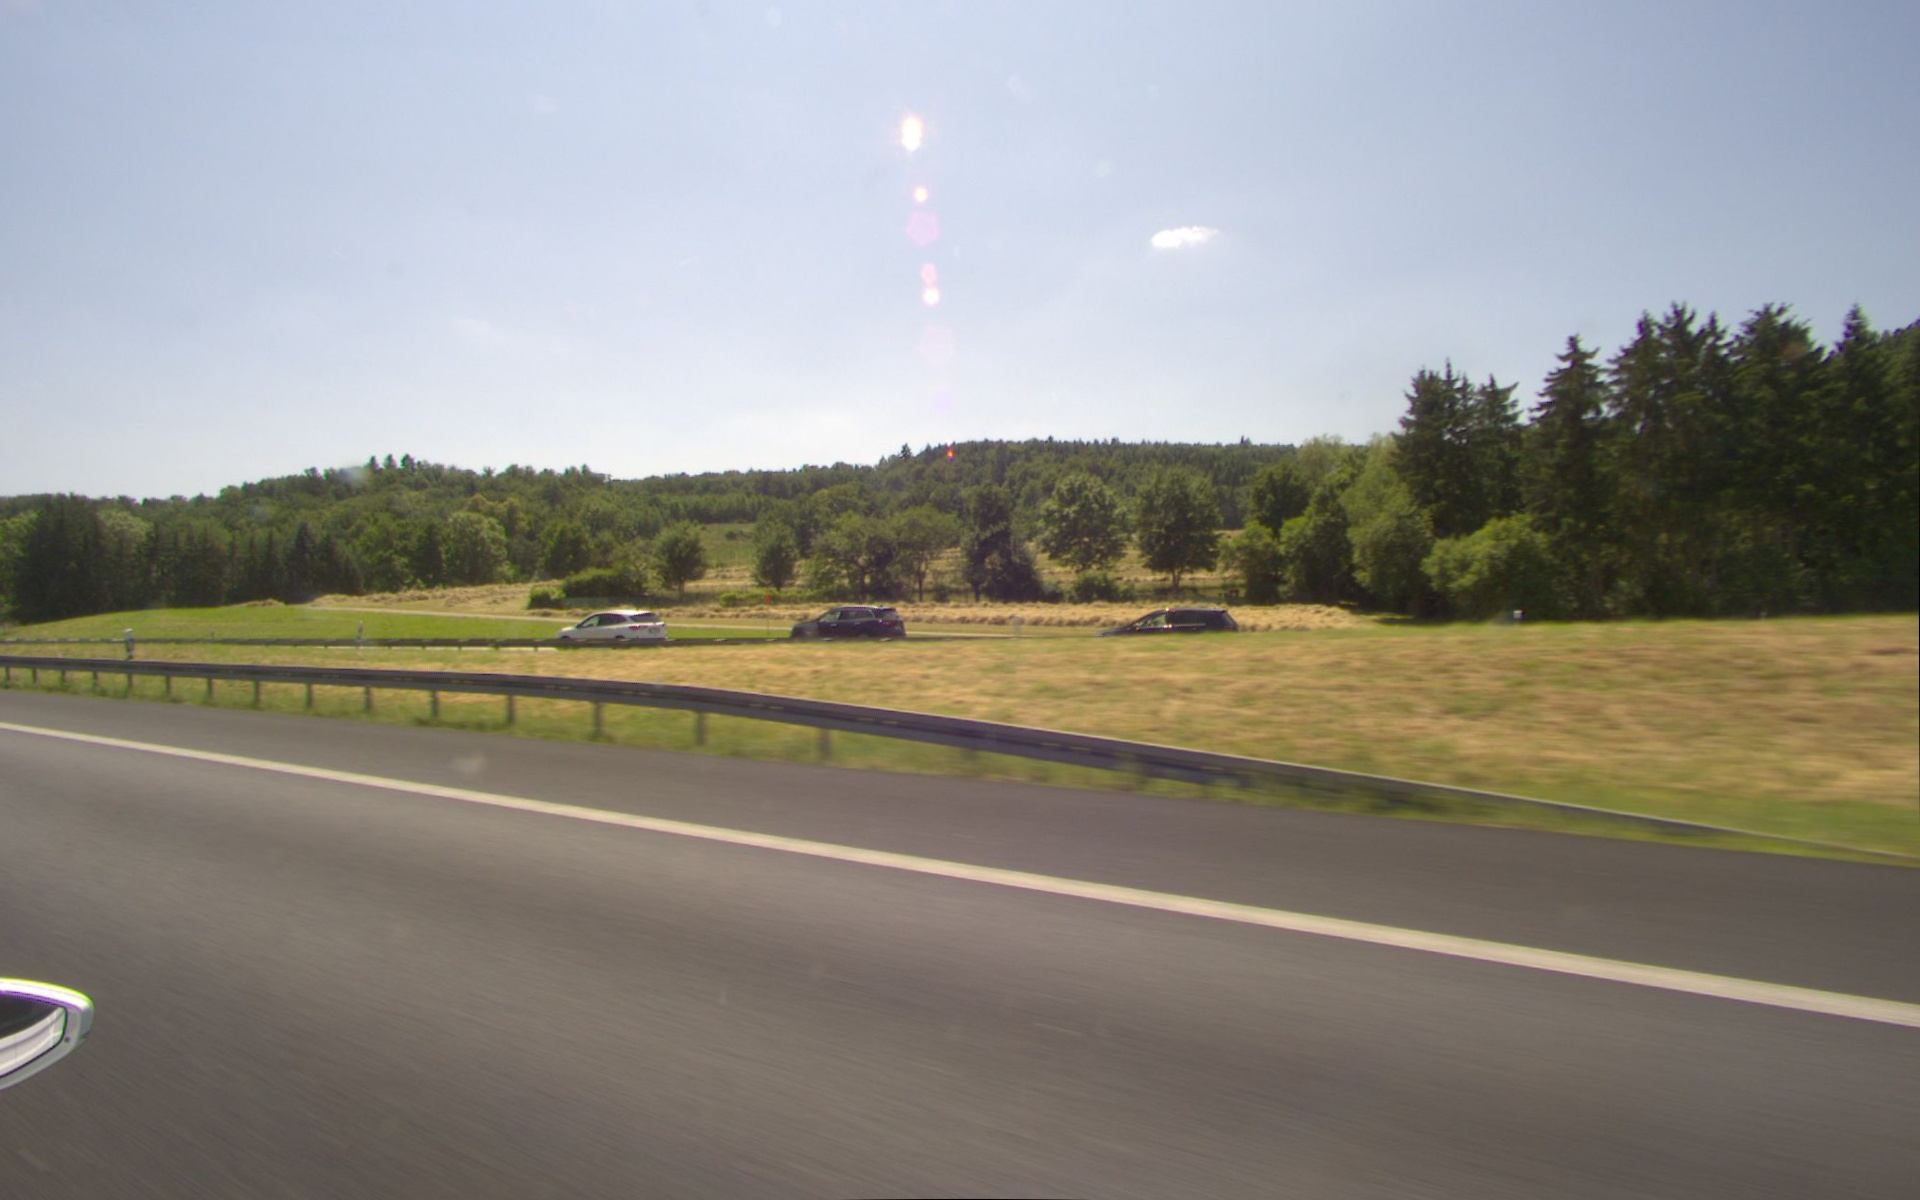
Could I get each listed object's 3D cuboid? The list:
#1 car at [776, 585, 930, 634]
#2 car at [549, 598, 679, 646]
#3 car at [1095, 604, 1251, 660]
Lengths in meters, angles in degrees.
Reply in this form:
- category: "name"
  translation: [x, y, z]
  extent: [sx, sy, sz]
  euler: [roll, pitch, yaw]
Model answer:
- category: "car"
  translation: [-3.994, 0.420, 36.953]
  extent: [5.540, 1.683, 1.992]
  euler: [-1, -2, 29]
- category: "car"
  translation: [-12.825, 0.842, 37.146]
  extent: [4.393, 1.683, 1.995]
  euler: [-1, -2, 23]
- category: "car"
  translation: [5.894, 0.887, 27.721]
  extent: [3.902, 1.453, 1.795]
  euler: [0, -2, 26]
